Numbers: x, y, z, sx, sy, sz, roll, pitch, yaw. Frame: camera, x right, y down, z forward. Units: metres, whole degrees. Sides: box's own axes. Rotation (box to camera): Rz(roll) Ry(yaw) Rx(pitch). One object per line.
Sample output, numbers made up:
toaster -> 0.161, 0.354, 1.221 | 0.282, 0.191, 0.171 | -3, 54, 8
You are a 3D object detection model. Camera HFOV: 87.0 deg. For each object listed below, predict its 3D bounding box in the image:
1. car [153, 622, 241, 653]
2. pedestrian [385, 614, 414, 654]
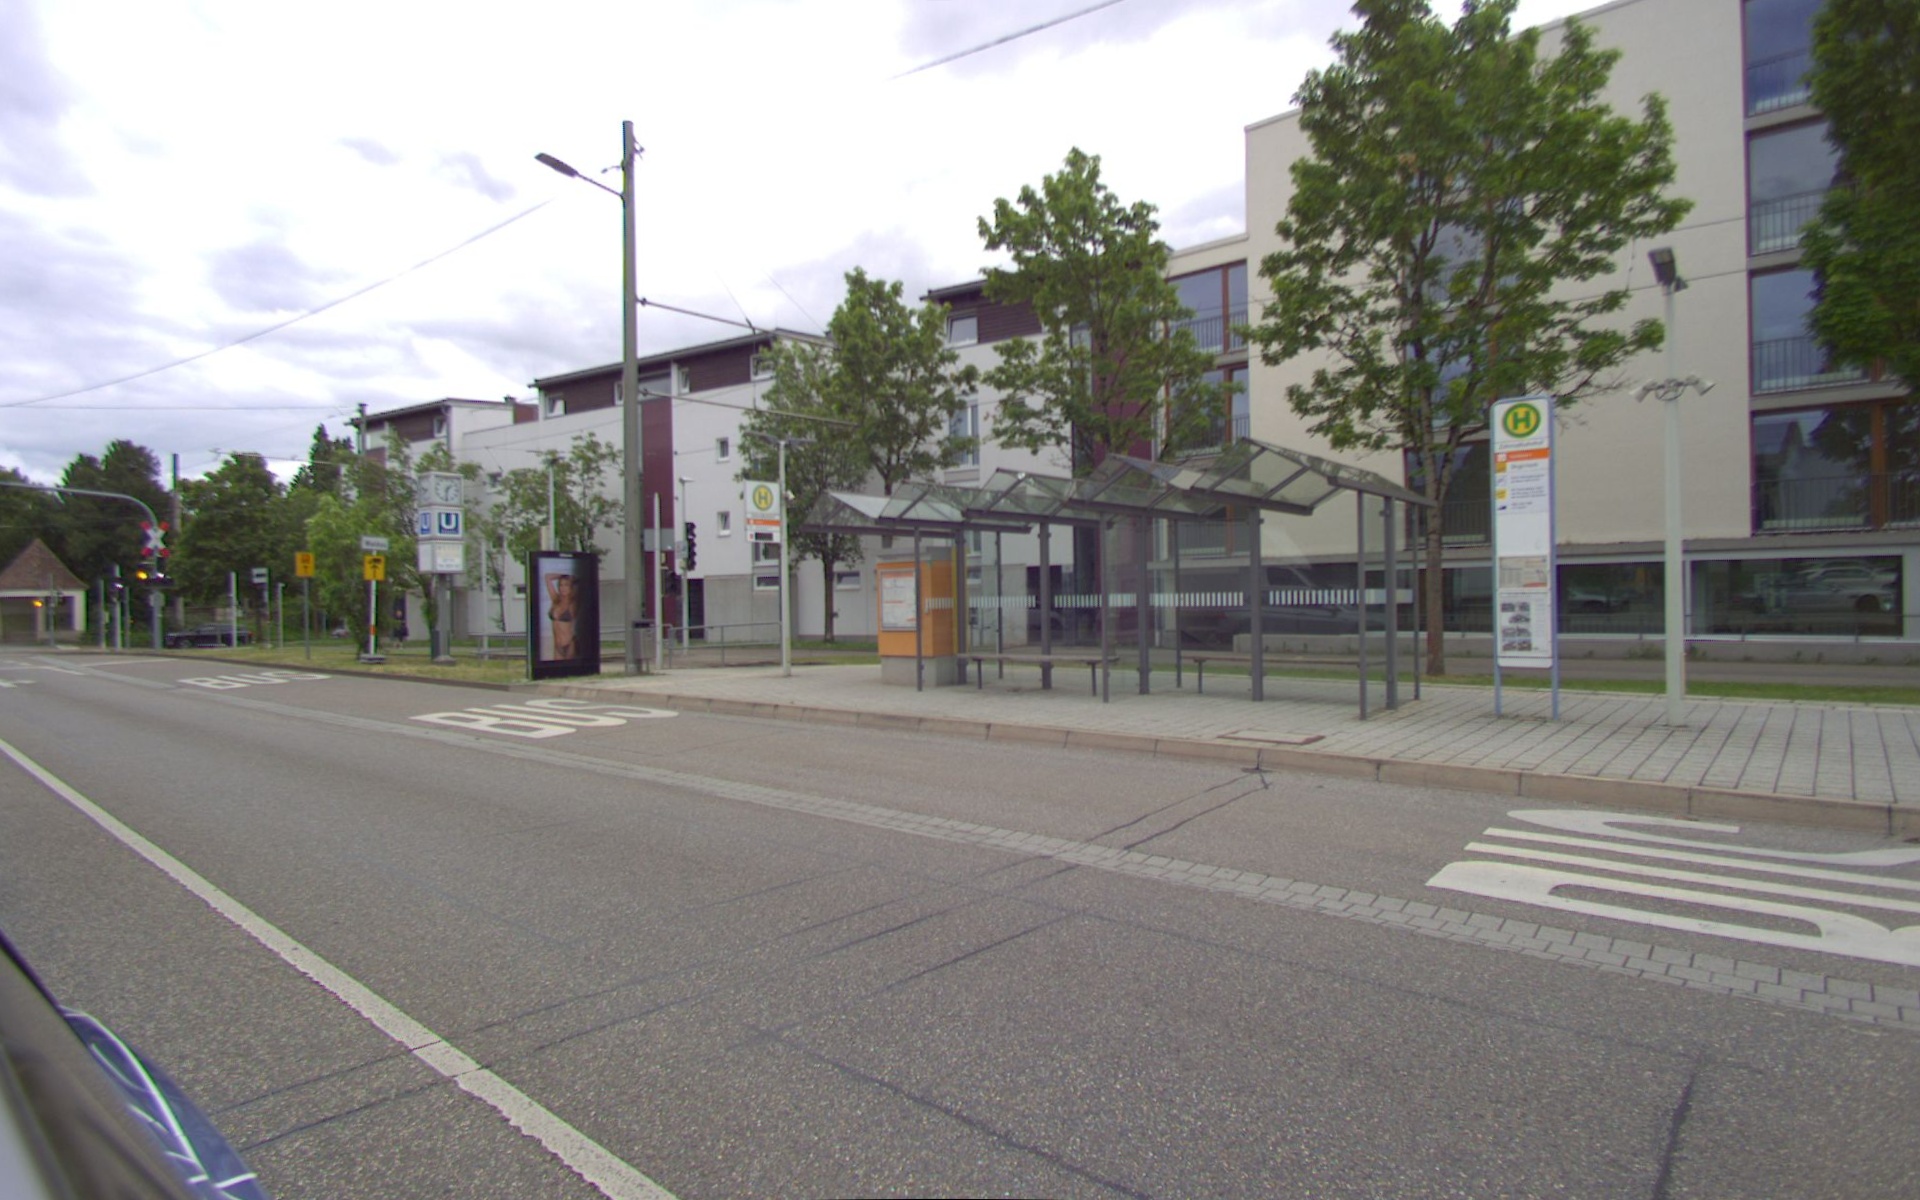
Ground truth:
car -> -46.640, 2.283, 61.896 | 1.925, 1.719, 3.950 | -1, 0, 37
pedestrian -> -23.310, 1.397, 42.078 | 0.778, 1.607, 0.773 | -1, 0, 32
